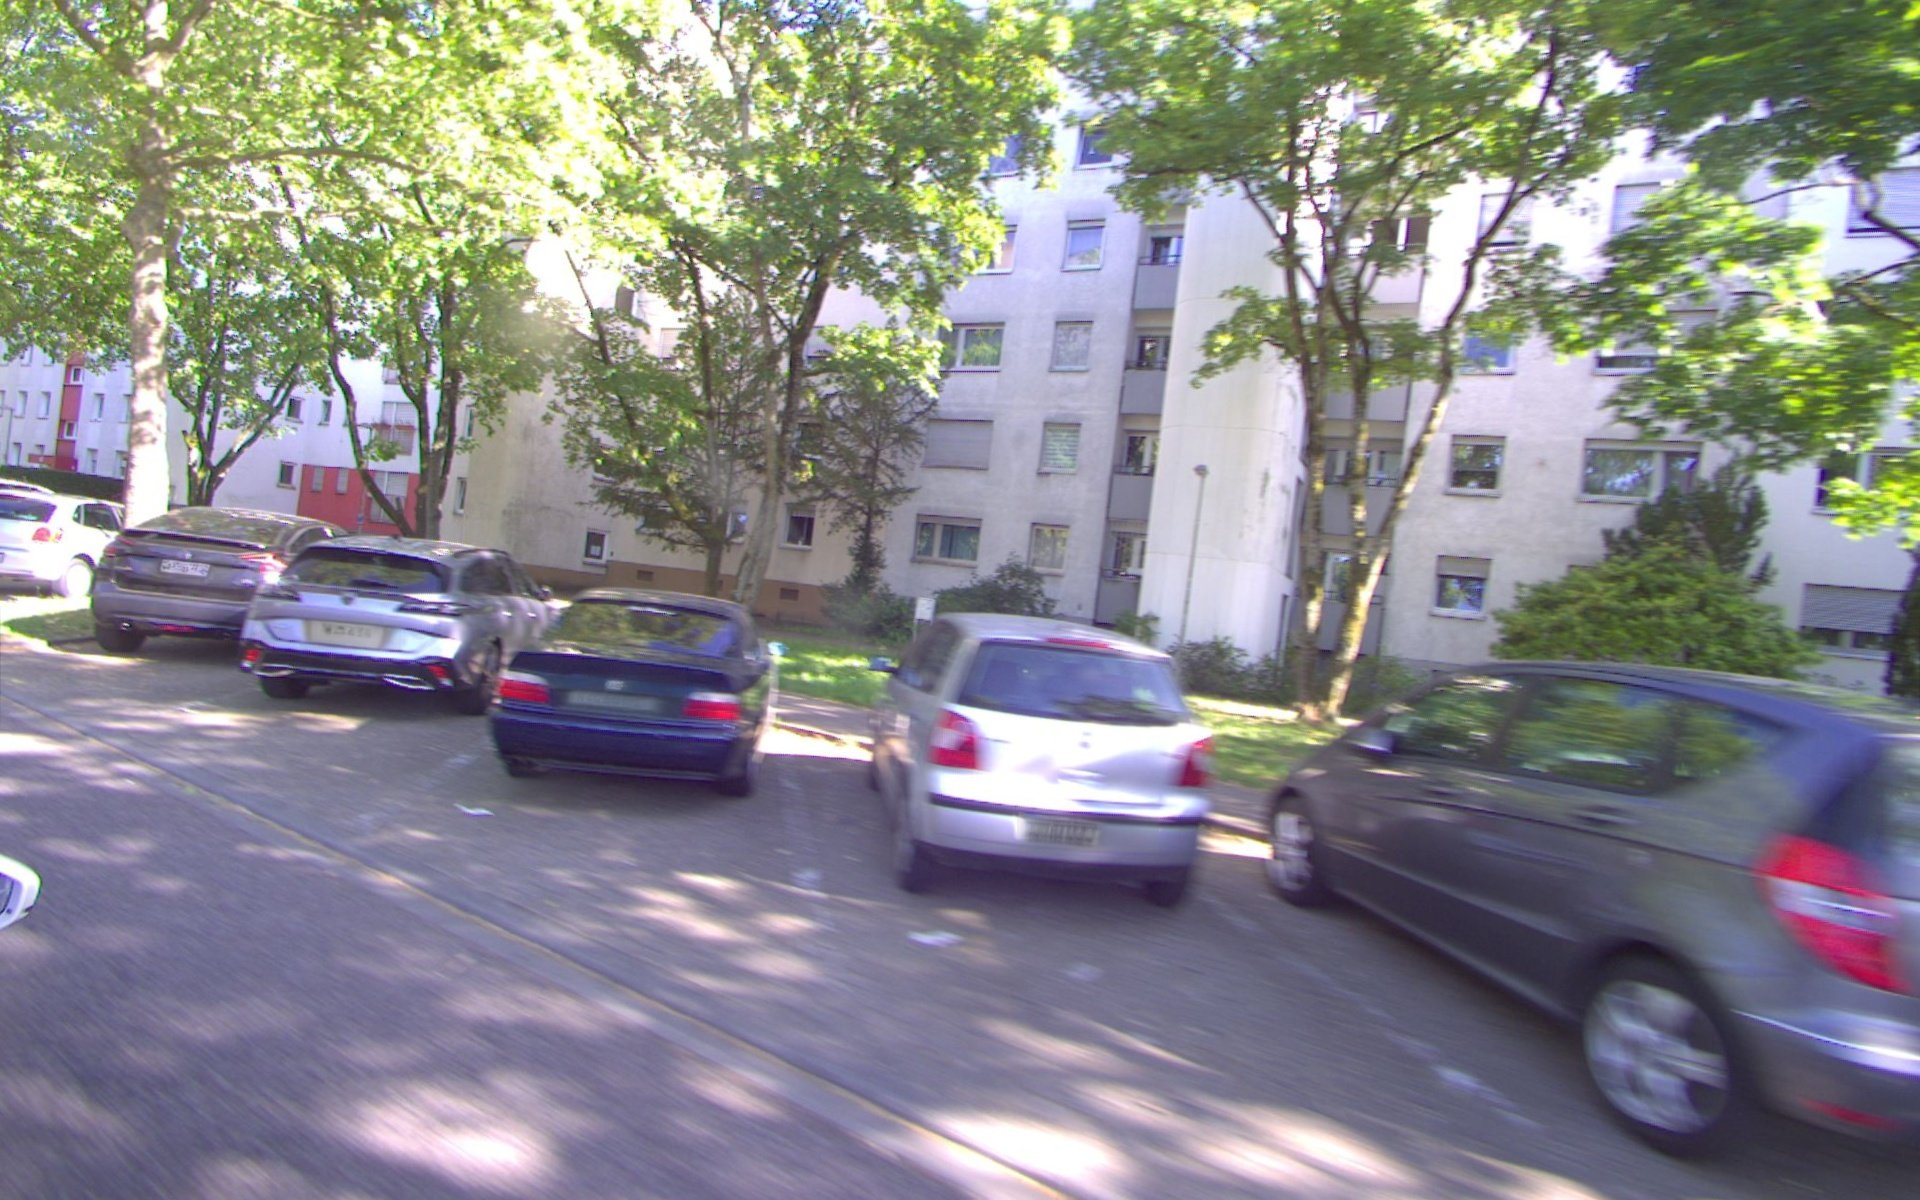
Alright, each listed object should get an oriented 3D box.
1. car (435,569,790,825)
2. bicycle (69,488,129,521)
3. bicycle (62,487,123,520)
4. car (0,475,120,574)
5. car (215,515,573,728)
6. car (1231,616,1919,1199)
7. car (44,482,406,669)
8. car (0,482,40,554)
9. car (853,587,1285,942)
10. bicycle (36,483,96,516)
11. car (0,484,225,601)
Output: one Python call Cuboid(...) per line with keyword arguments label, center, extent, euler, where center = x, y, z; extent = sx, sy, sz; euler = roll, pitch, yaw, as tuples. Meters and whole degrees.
Cuboid(label="car", center=(-2.373, 0.545, 7.971), extent=(1.769, 1.334, 4.139), euler=(7, 0, -8))
Cuboid(label="bicycle", center=(-35.519, -3.919, 41.541), extent=(0.491, 1.144, 1.796), euler=(7, 2, 27))
Cuboid(label="bicycle", center=(-36.012, -3.978, 41.778), extent=(0.540, 1.144, 1.796), euler=(7, 2, 27))
Cuboid(label="car", center=(-16.616, -1.355, 16.997), extent=(1.769, 1.596, 3.993), euler=(7, 1, -8))
Cuboid(label="car", center=(-5.108, 0.133, 9.726), extent=(1.770, 1.464, 3.878), euler=(7, 1, -11))
Cuboid(label="car", center=(2.962, 1.054, 4.698), extent=(1.769, 1.613, 3.719), euler=(7, 1, -9))
Cuboid(label="car", center=(-7.943, -0.280, 11.413), extent=(1.772, 1.529, 4.164), euler=(7, 1, -14))
Cuboid(label="car", center=(-20.182, -1.740, 19.172), extent=(1.771, 1.440, 4.577), euler=(7, 0, -13))
Cuboid(label="car", center=(0.364, 0.800, 6.589), extent=(1.770, 1.511, 3.576), euler=(7, 1, -10))
Cuboid(label="bicycle", center=(-37.979, -4.267, 42.744), extent=(0.540, 1.144, 1.796), euler=(7, 2, 27))
Cuboid(label="car", center=(-13.325, -0.870, 15.247), extent=(1.769, 1.462, 3.992), euler=(7, 1, -9))
